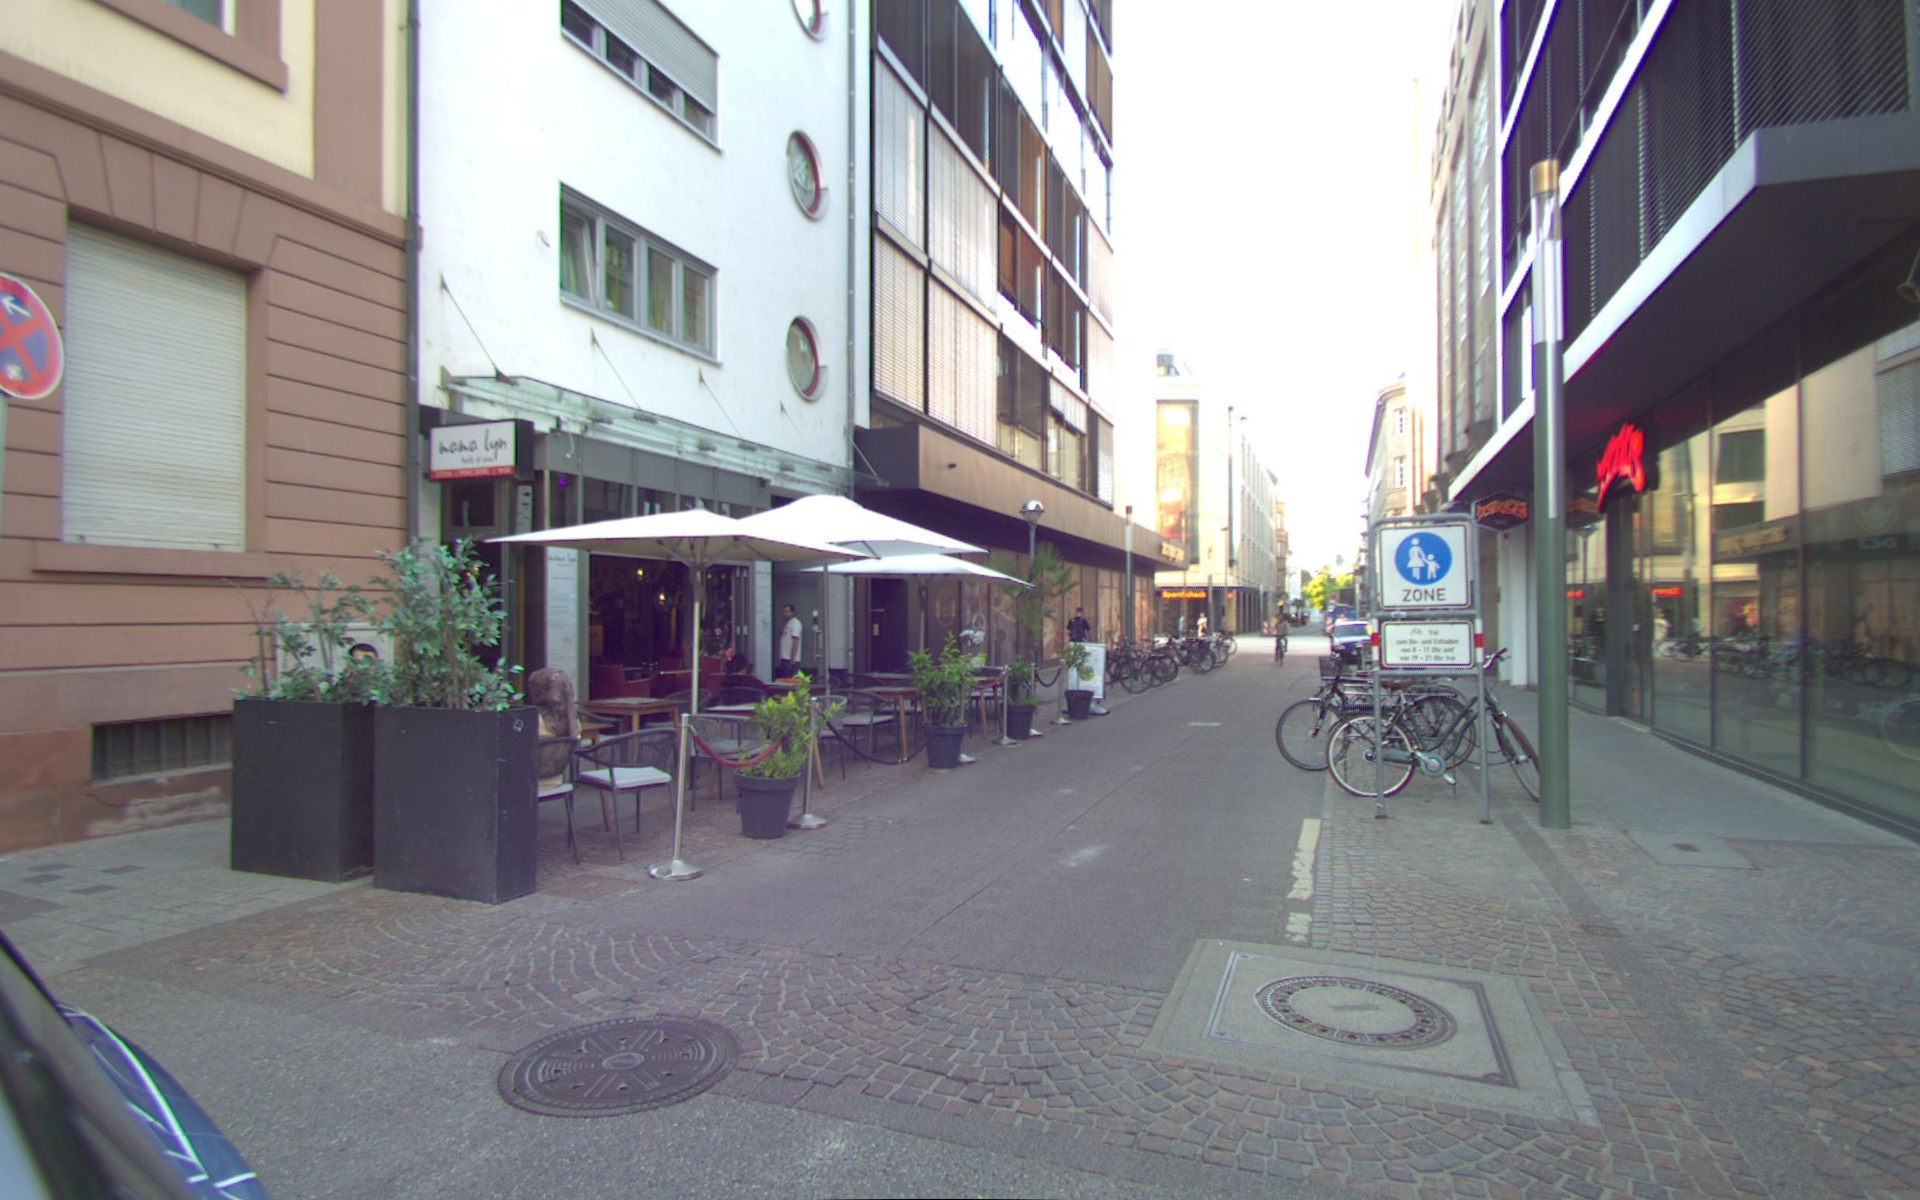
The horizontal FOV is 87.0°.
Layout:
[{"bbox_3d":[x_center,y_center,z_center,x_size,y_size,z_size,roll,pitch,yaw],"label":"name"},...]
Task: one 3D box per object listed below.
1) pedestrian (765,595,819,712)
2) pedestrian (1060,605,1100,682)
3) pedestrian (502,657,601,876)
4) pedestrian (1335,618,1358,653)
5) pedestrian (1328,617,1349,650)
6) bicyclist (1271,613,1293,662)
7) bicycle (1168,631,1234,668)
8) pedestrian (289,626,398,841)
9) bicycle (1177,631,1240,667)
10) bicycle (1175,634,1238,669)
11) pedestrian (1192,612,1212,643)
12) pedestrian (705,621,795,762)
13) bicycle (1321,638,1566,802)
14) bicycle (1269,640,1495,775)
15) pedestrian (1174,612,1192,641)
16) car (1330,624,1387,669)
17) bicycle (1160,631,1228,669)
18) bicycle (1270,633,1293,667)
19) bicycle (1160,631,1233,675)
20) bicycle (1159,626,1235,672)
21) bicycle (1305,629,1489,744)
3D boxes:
[{"bbox_3d":[-2.621,0.820,15.819,0.635,1.785,0.599,-1,-2,16],"label":"pedestrian"},{"bbox_3d":[2.922,1.046,24.621,0.799,1.850,0.670,-1,-2,23],"label":"pedestrian"},{"bbox_3d":[-2.399,0.953,5.958,0.396,1.223,0.382,-1,-2,12],"label":"pedestrian"},{"bbox_3d":[18.560,1.708,48.585,0.769,1.633,0.638,0,-1,-18],"label":"pedestrian"},{"bbox_3d":[18.500,1.628,49.429,0.772,1.633,0.636,0,-1,-2],"label":"pedestrian"},{"bbox_3d":[11.307,1.304,35.575,0.671,1.683,0.863,-1,-2,20],"label":"bicyclist"},{"bbox_3d":[7.790,1.601,32.757,2.025,1.176,0.614,-1,-2,21],"label":"bicycle"},{"bbox_3d":[-3.948,0.829,6.500,0.358,1.316,0.494,0,-2,7],"label":"pedestrian"},{"bbox_3d":[8.554,1.684,34.865,2.025,1.225,0.614,-1,-2,21],"label":"bicycle"},{"bbox_3d":[8.321,1.730,34.165,2.025,1.176,0.614,-1,-2,21],"label":"bicycle"},{"bbox_3d":[12.851,1.439,53.750,0.625,1.633,0.785,0,-1,-28],"label":"pedestrian"},{"bbox_3d":[-2.232,0.942,10.819,0.572,1.431,0.862,-1,-2,22],"label":"pedestrian"},{"bbox_3d":[3.797,0.941,8.079,1.659,1.214,0.506,-3,-2,21],"label":"bicycle"},{"bbox_3d":[3.955,1.001,9.608,1.889,1.190,0.514,-2,-2,21],"label":"bicycle"},{"bbox_3d":[11.793,1.393,53.575,0.779,1.536,0.630,-1,-1,28],"label":"pedestrian"},{"bbox_3d":[13.652,1.556,34.567,1.595,1.434,3.573,-1,-2,25],"label":"car"},{"bbox_3d":[7.339,1.558,31.760,2.025,1.176,0.614,-1,-2,21],"label":"bicycle"},{"bbox_3d":[11.297,1.746,35.507,0.694,1.137,1.991,-1,-2,20],"label":"bicycle"},{"bbox_3d":[7.104,1.588,30.430,2.025,1.176,0.614,2,0,21],"label":"bicycle"},{"bbox_3d":[6.797,1.392,29.062,2.025,1.176,0.661,2,0,21],"label":"bicycle"},{"bbox_3d":[5.146,1.028,12.014,1.891,1.279,0.534,-4,-3,22],"label":"bicycle"}]
